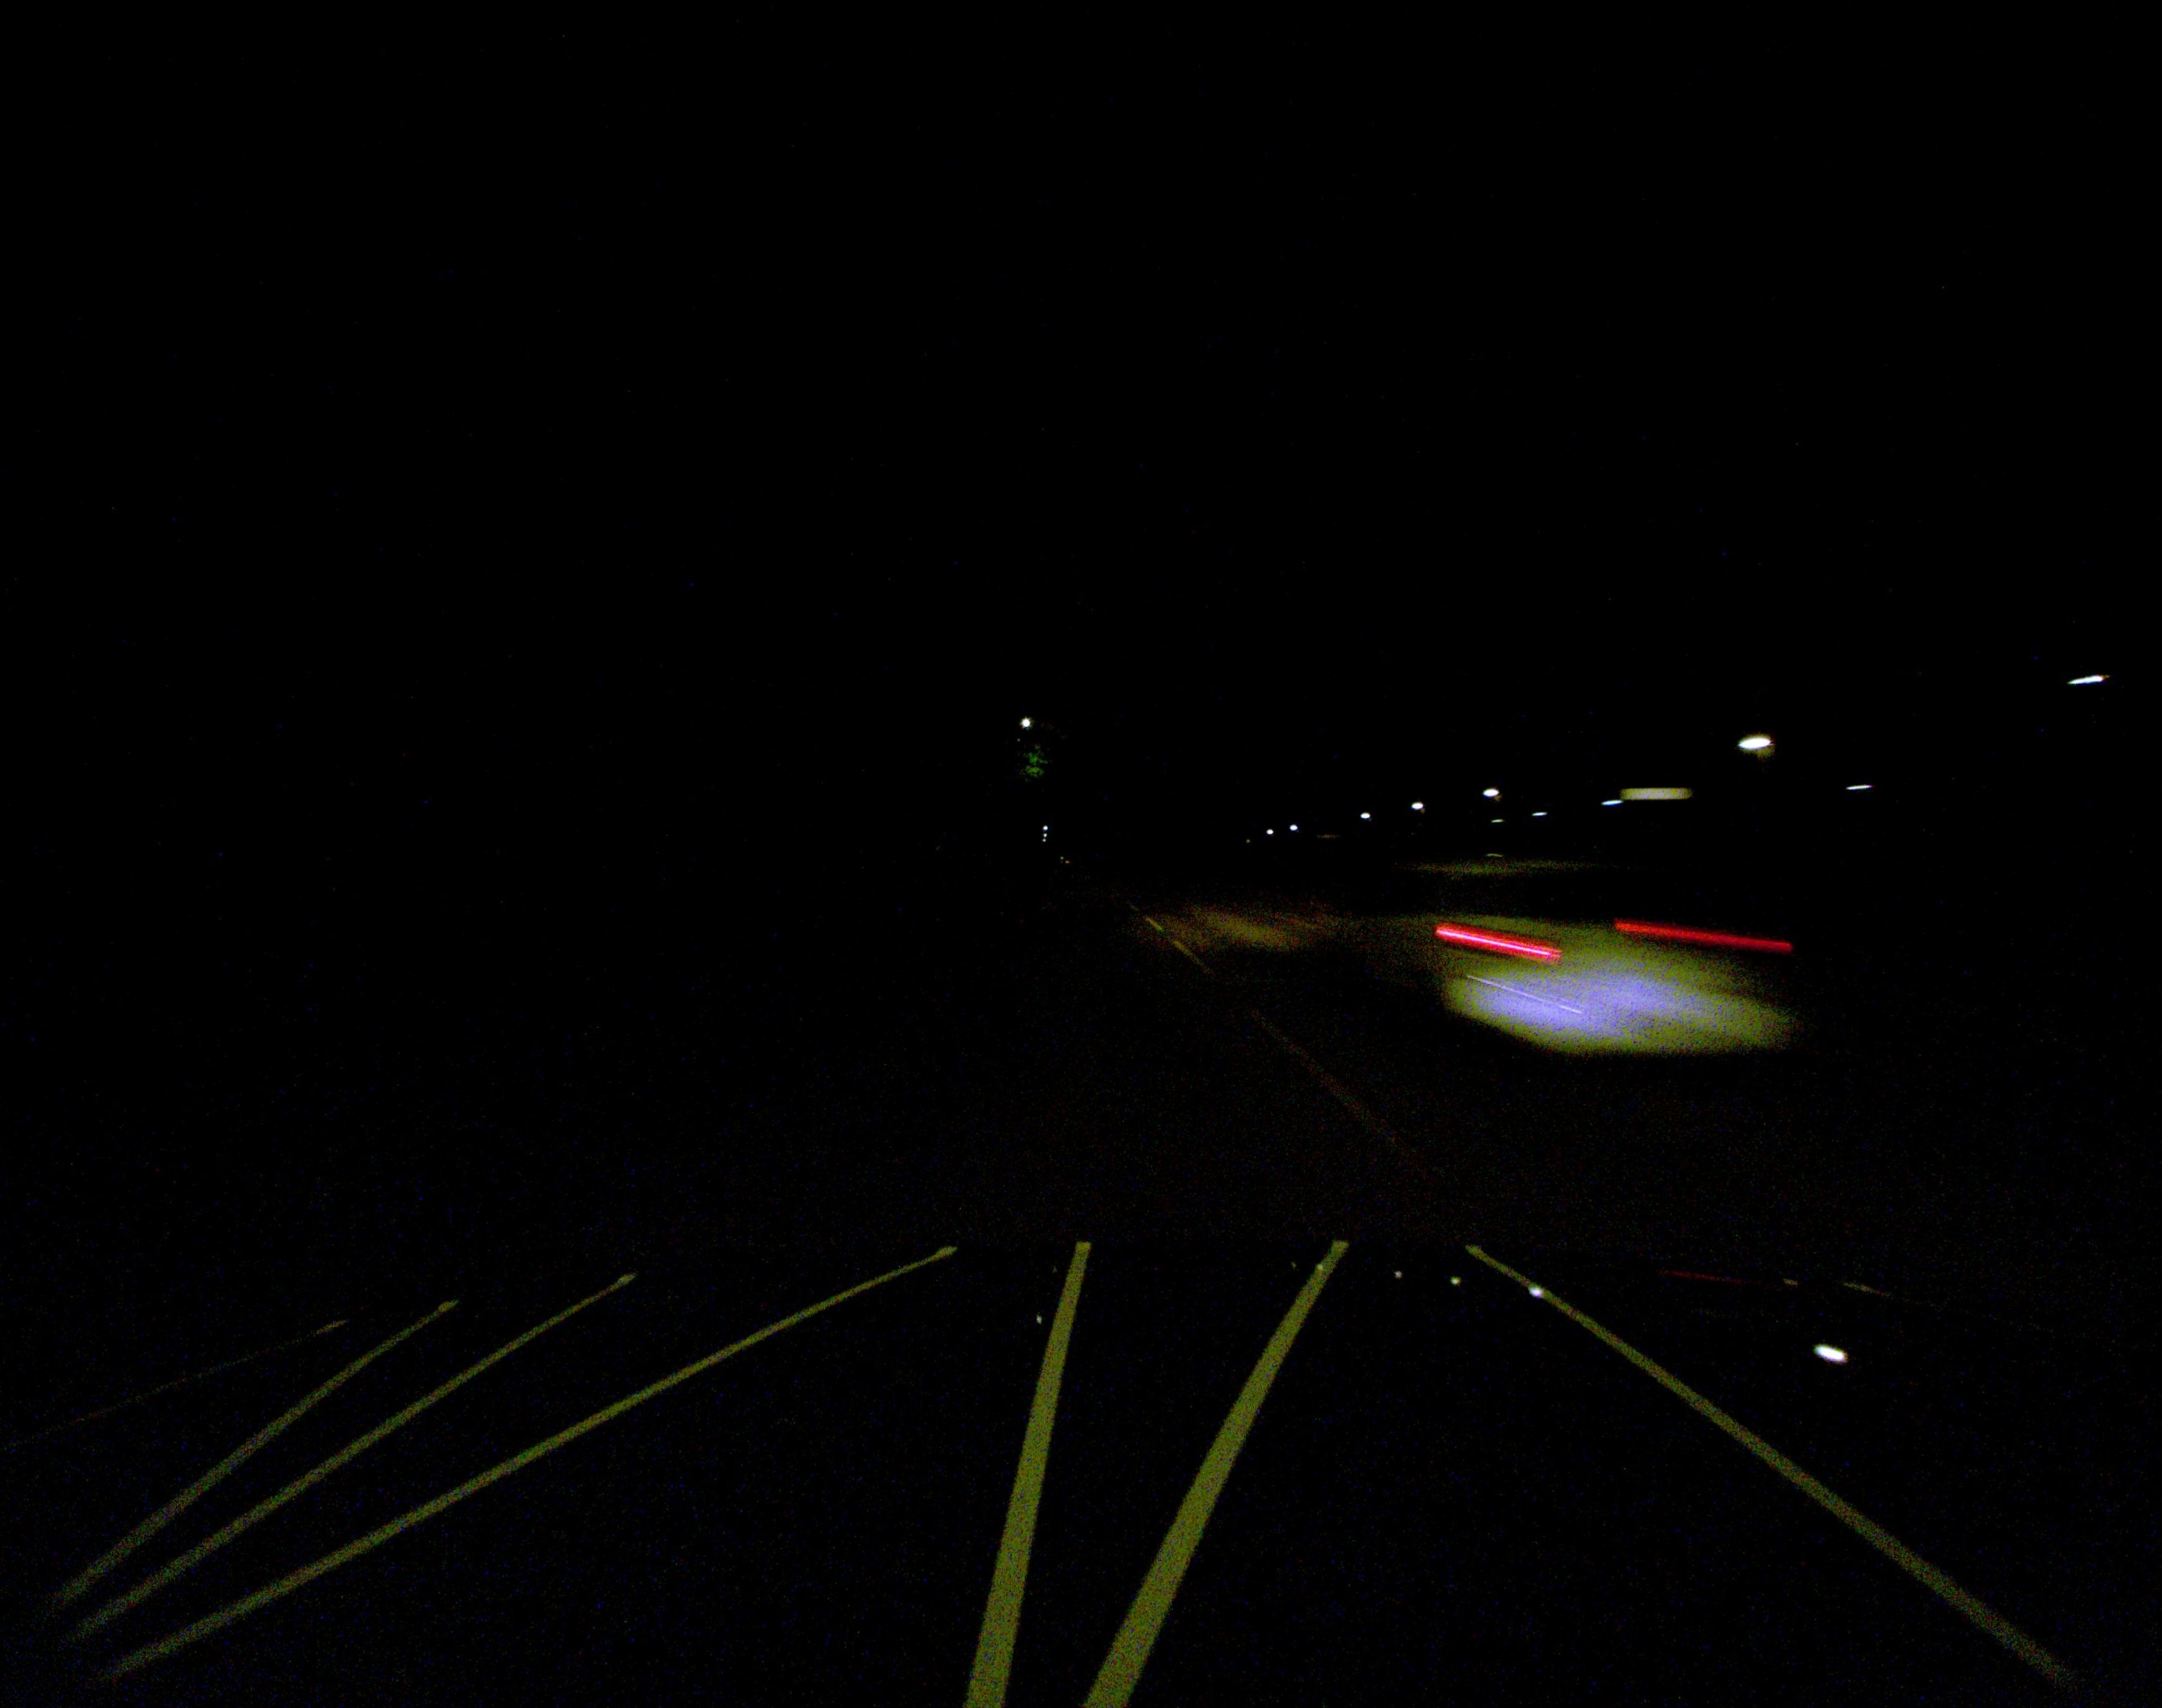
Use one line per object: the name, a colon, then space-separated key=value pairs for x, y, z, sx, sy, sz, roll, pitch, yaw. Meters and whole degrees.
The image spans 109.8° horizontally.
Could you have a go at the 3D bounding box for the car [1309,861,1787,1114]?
car: x=3.451 y=0.833 z=6.634 sx=1.692 sy=1.449 sz=4.000 roll=-2 pitch=0 yaw=0
